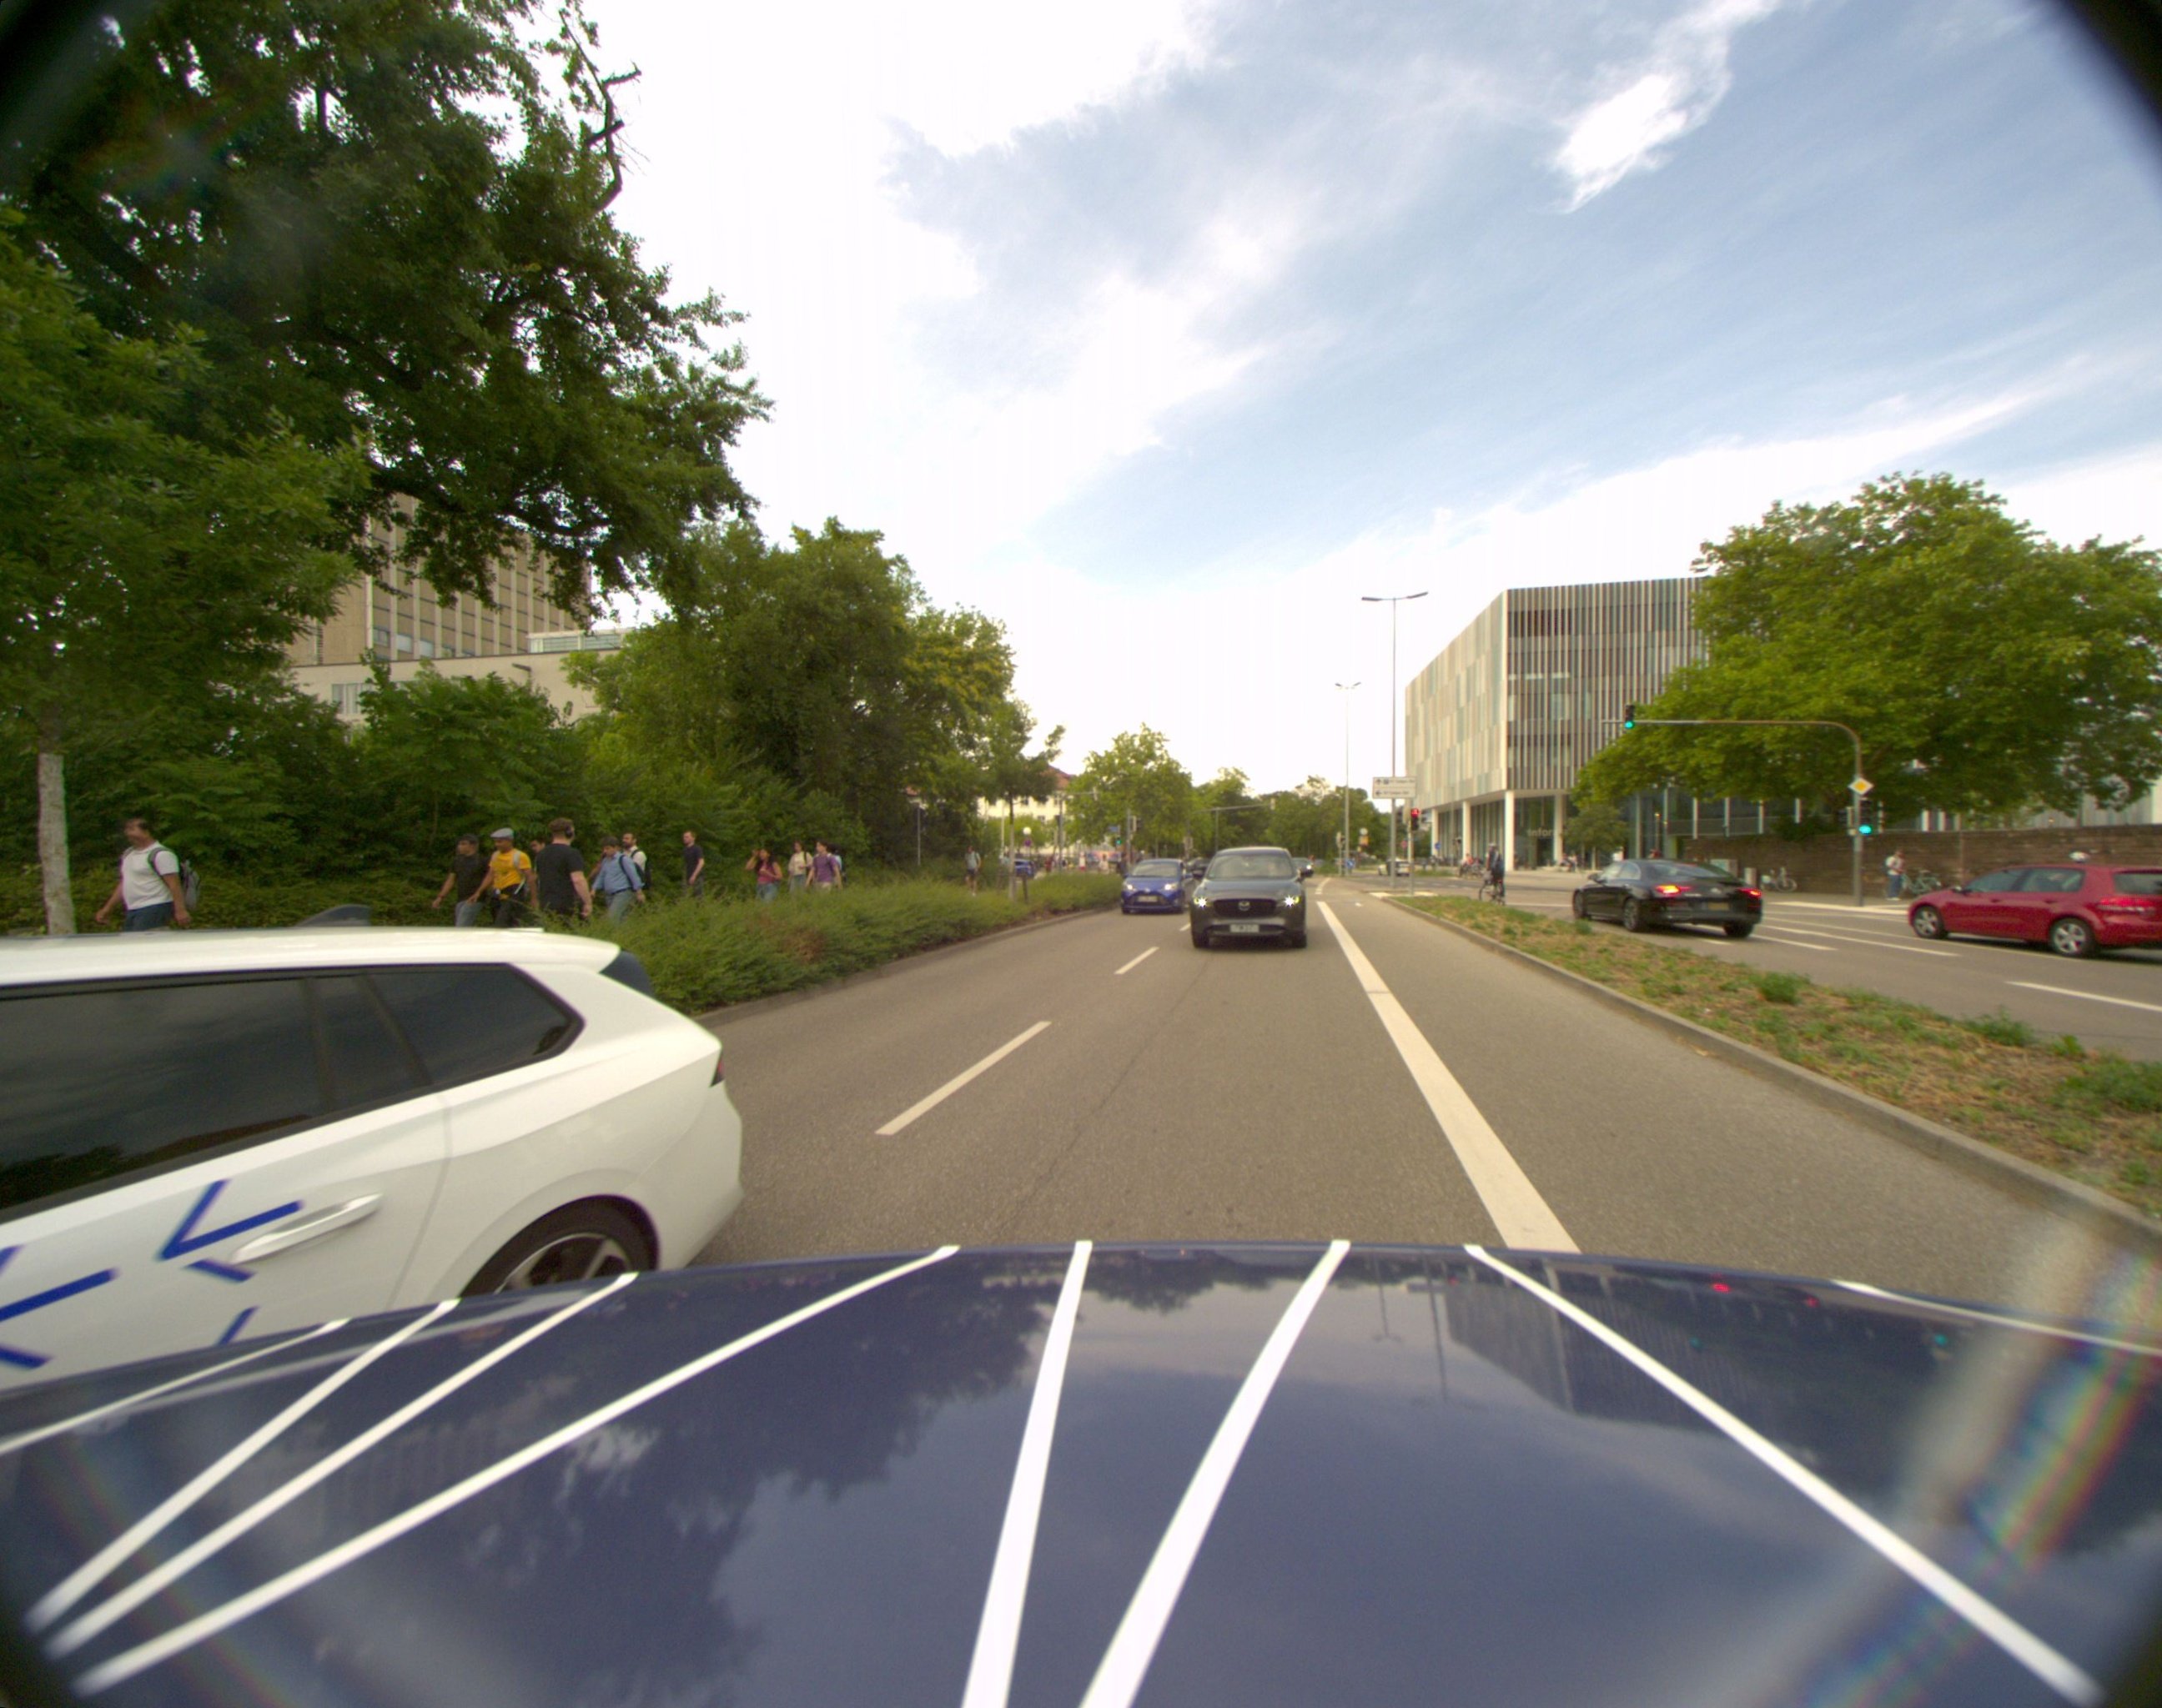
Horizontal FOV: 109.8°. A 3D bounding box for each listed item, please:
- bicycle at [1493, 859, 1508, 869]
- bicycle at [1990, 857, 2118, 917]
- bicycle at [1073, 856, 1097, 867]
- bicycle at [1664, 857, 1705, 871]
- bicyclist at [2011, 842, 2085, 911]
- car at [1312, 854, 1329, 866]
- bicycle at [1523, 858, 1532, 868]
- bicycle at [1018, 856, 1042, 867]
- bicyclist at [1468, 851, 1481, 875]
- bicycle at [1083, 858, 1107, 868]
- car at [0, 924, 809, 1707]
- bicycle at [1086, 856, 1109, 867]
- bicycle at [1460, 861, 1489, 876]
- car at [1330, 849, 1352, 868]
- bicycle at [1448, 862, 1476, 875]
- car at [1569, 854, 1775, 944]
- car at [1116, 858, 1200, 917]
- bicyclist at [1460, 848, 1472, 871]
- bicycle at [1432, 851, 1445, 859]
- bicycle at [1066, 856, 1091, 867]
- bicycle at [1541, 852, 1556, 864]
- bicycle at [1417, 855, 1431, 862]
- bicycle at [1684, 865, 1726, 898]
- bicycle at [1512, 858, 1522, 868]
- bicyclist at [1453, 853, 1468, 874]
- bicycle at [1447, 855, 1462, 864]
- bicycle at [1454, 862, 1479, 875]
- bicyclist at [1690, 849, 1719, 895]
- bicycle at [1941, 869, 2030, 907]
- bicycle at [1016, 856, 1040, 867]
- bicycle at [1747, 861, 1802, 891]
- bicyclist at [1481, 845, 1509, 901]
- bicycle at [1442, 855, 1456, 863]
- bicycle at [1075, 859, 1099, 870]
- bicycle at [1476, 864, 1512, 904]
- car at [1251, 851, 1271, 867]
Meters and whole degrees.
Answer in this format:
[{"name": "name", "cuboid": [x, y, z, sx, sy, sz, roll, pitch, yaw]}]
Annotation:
[{"name": "bicycle", "cuboid": [42.693, 1.003, 77.331, 1.612, 0.932, 0.393, -2, 0, -21]}, {"name": "bicycle", "cuboid": [20.228, 0.643, 15.861, 0.582, 1.164, 1.966, 0, 0, 16]}, {"name": "bicycle", "cuboid": [0.422, 0.841, 82.237, 2.469, 1.136, 0.718, 0, 1, 13]}, {"name": "bicycle", "cuboid": [48.490, 0.781, 61.040, 2.681, 1.083, 0.797, 0, 1, -3]}, {"name": "bicyclist", "cuboid": [20.235, 0.454, 15.916, 0.581, 1.410, 0.812, 0, 1, 16]}, {"name": "car", "cuboid": [31.814, 0.769, 100.989, 1.804, 1.503, 4.107, 0, 1, 13]}, {"name": "bicycle", "cuboid": [43.704, 0.915, 74.372, 1.601, 0.932, 0.393, -2, 0, -45]}, {"name": "bicycle", "cuboid": [-5.592, 0.835, 83.427, 2.469, 1.136, 0.718, 0, 1, 13]}, {"name": "bicyclist", "cuboid": [29.383, 0.696, 56.760, 0.601, 1.796, 0.562, 0, 1, -3]}, {"name": "bicycle", "cuboid": [1.544, 0.977, 83.725, 2.469, 1.136, 0.718, 0, 1, 13]}, {"name": "car", "cuboid": [-2.546, 1.040, 0.963, 1.742, 1.430, 4.788, 0, 0, 14]}, {"name": "bicycle", "cuboid": [1.860, 0.852, 84.656, 2.469, 1.136, 0.718, 0, 1, 13]}, {"name": "bicycle", "cuboid": [29.414, 1.076, 56.760, 1.894, 1.163, 0.607, 0, 0, -3]}, {"name": "car", "cuboid": [21.730, 0.400, 63.468, 1.574, 1.480, 3.641, -2, 0, 17]}, {"name": "bicycle", "cuboid": [30.162, 1.122, 60.123, 1.821, 0.983, 0.728, -2, 1, -2]}, {"name": "car", "cuboid": [11.375, 0.756, 15.050, 1.804, 1.480, 4.411, 0, 0, 18]}, {"name": "car", "cuboid": [2.284, 0.876, 21.625, 1.701, 1.485, 3.837, 0, 0, 16]}, {"name": "bicyclist", "cuboid": [29.581, 0.430, 58.386, 0.601, 1.796, 0.562, -2, 1, -2]}, {"name": "bicycle", "cuboid": [47.271, 0.141, 100.460, 1.580, 1.017, 0.390, 2, 1, 7]}, {"name": "bicycle", "cuboid": [-0.287, 0.776, 79.936, 2.469, 1.136, 0.718, 0, 1, 13]}, {"name": "bicycle", "cuboid": [43.790, 0.362, 71.173, 1.548, 1.023, 0.393, -2, 0, -25]}, {"name": "bicycle", "cuboid": [49.752, 0.634, 110.167, 1.702, 1.017, 0.435, -2, 0, 7]}, {"name": "bicycle", "cuboid": [24.323, 1.044, 29.665, 0.619, 1.210, 2.048, 0, 0, 20]}, {"name": "bicycle", "cuboid": [43.208, 0.924, 75.253, 1.601, 0.932, 0.393, -2, 0, -45]}, {"name": "bicyclist", "cuboid": [30.025, 0.761, 60.115, 0.728, 1.663, 0.723, -2, 1, -2]}, {"name": "bicycle", "cuboid": [45.586, 0.662, 92.713, 1.580, 1.017, 0.390, -2, 0, 7]}, {"name": "bicycle", "cuboid": [29.615, 1.090, 58.399, 1.691, 0.983, 0.571, 0, 1, -2]}, {"name": "bicyclist", "cuboid": [24.343, 0.705, 29.686, 0.619, 1.772, 0.812, 0, 1, 20]}, {"name": "bicycle", "cuboid": [27.597, 1.014, 23.235, 0.549, 1.052, 1.982, -3, 0, 8]}, {"name": "bicycle", "cuboid": [-5.784, 0.806, 82.615, 2.469, 1.136, 0.718, 0, 1, 13]}, {"name": "bicycle", "cuboid": [28.543, 0.885, 31.322, 0.578, 1.119, 2.167, -3, 0, 10]}, {"name": "bicyclist", "cuboid": [11.750, 0.539, 21.573, 0.573, 1.564, 0.700, 0, 1, 19]}, {"name": "bicycle", "cuboid": [47.247, 0.643, 97.471, 1.580, 1.017, 0.390, -2, 0, 7]}, {"name": "bicycle", "cuboid": [0.654, 1.149, 83.061, 2.469, 1.136, 0.718, 0, 1, 13]}, {"name": "bicycle", "cuboid": [11.739, 0.829, 21.635, 0.574, 1.049, 1.929, 0, 0, 19]}, {"name": "car", "cuboid": [20.275, 0.532, 85.781, 1.997, 1.761, 4.004, 0, 0, 11]}]
